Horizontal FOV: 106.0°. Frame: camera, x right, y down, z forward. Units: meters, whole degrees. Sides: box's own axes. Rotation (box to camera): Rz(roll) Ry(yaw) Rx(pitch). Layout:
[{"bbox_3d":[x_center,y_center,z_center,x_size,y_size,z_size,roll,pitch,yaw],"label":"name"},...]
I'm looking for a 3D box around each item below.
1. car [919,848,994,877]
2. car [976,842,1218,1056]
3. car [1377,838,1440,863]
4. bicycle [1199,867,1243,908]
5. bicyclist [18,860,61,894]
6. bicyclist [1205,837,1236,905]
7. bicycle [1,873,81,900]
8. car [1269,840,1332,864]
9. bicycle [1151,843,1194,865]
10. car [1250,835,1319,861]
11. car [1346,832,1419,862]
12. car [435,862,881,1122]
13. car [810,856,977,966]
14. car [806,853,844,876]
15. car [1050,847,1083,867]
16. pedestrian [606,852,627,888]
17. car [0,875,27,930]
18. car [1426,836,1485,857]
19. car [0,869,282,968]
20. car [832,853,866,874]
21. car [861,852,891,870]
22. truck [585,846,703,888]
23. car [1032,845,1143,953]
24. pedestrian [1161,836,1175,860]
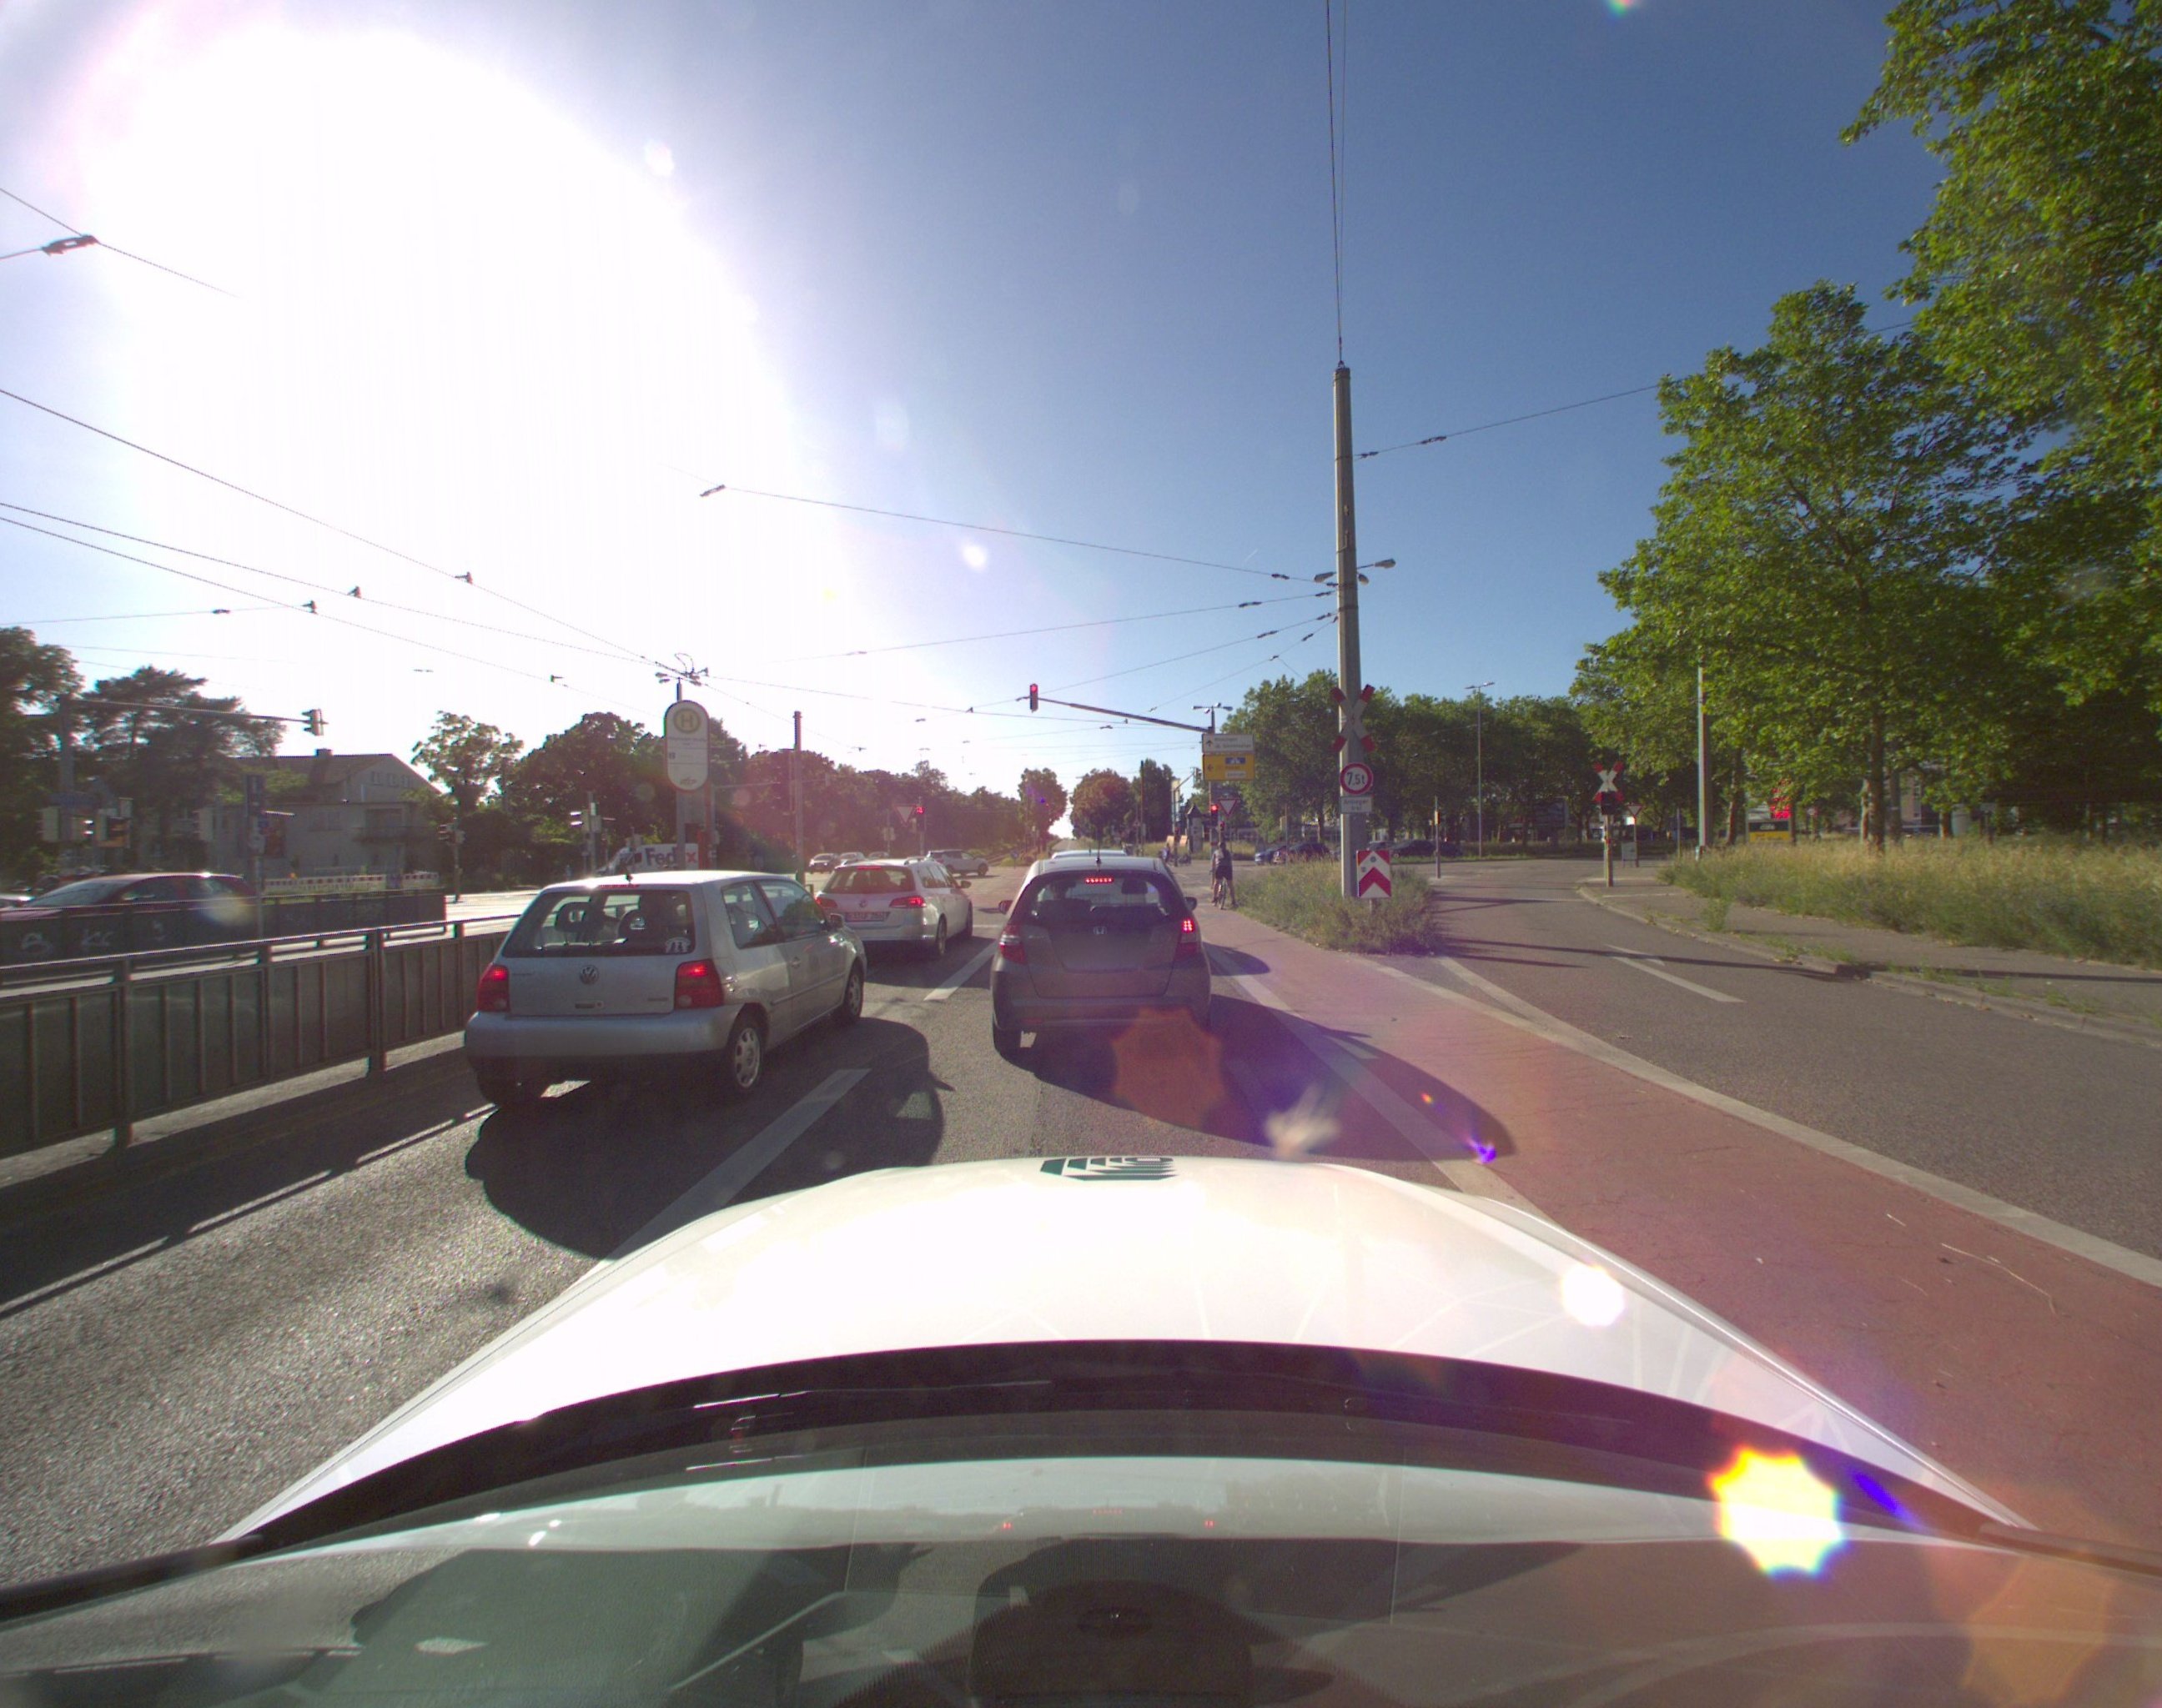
[{"bbox_3d":[-6.949,0.480,45.781,1.693,1.478,4.025,-2,0,42],"label":"car"},{"bbox_3d":[0.103,0.655,7.486,1.663,1.462,3.585,-1,0,-1],"label":"car"},{"bbox_3d":[22.264,-0.241,55.400,3.986,1.544,1.581,-2,0,-22],"label":"car"},{"bbox_3d":[3.626,0.841,21.297,0.719,0.989,2.876,0,0,1],"label":"bicycle"},{"bbox_3d":[-51.783,1.120,40.516,1.009,1.647,0.813,-1,0,-17],"label":"bicyclist"},{"bbox_3d":[3.625,0.434,21.219,0.663,1.716,0.948,0,-1,1],"label":"bicyclist"},{"bbox_3d":[-51.714,1.601,40.525,2.402,1.263,0.813,-1,0,-17],"label":"bicycle"},{"bbox_3d":[15.010,-0.136,55.786,4.002,1.531,1.594,-2,0,-22],"label":"car"},{"bbox_3d":[7.142,0.003,63.487,3.211,1.574,0.816,-2,0,-17],"label":"bicycle"},{"bbox_3d":[15.020,-0.429,60.078,4.705,1.879,1.986,0,-1,-22],"label":"car"},{"bbox_3d":[21.949,-0.500,59.244,4.906,2.013,1.986,-2,0,-22],"label":"car"},{"bbox_3d":[-2.834,0.802,6.328,1.613,1.417,3.352,-2,0,1],"label":"car"},{"bbox_3d":[-2.783,0.779,12.976,1.613,1.457,4.086,-1,0,1],"label":"car"},{"bbox_3d":[-19.025,0.754,60.699,1.829,1.548,3.993,-2,0,-5],"label":"car"},{"bbox_3d":[-1.017,0.212,59.219,1.512,1.378,3.690,-2,0,14],"label":"car"},{"bbox_3d":[-26.541,0.880,46.544,0.748,2.013,0.788,-2,0,-11],"label":"pedestrian"},{"bbox_3d":[-32.032,1.413,21.490,4.844,1.497,1.771,-2,0,-25],"label":"car"},{"bbox_3d":[30.580,-0.587,66.493,4.526,1.574,1.681,-2,0,-21],"label":"car"},{"bbox_3d":[-16.865,1.034,14.292,1.598,1.402,4.018,-2,0,2],"label":"car"},{"bbox_3d":[-18.924,0.758,66.491,1.829,1.548,4.277,-2,0,-5],"label":"car"},{"bbox_3d":[-18.790,0.607,74.748,1.991,1.604,4.745,0,0,-6],"label":"car"},{"bbox_3d":[-28.397,0.772,53.263,1.975,2.565,6.863,-1,0,26],"label":"truck"},{"bbox_3d":[0.140,0.659,14.126,1.605,1.562,4.289,-1,0,1],"label":"car"},{"bbox_3d":[6.764,-0.498,63.370,0.854,1.836,0.786,-2,0,-16],"label":"pedestrian"}]
